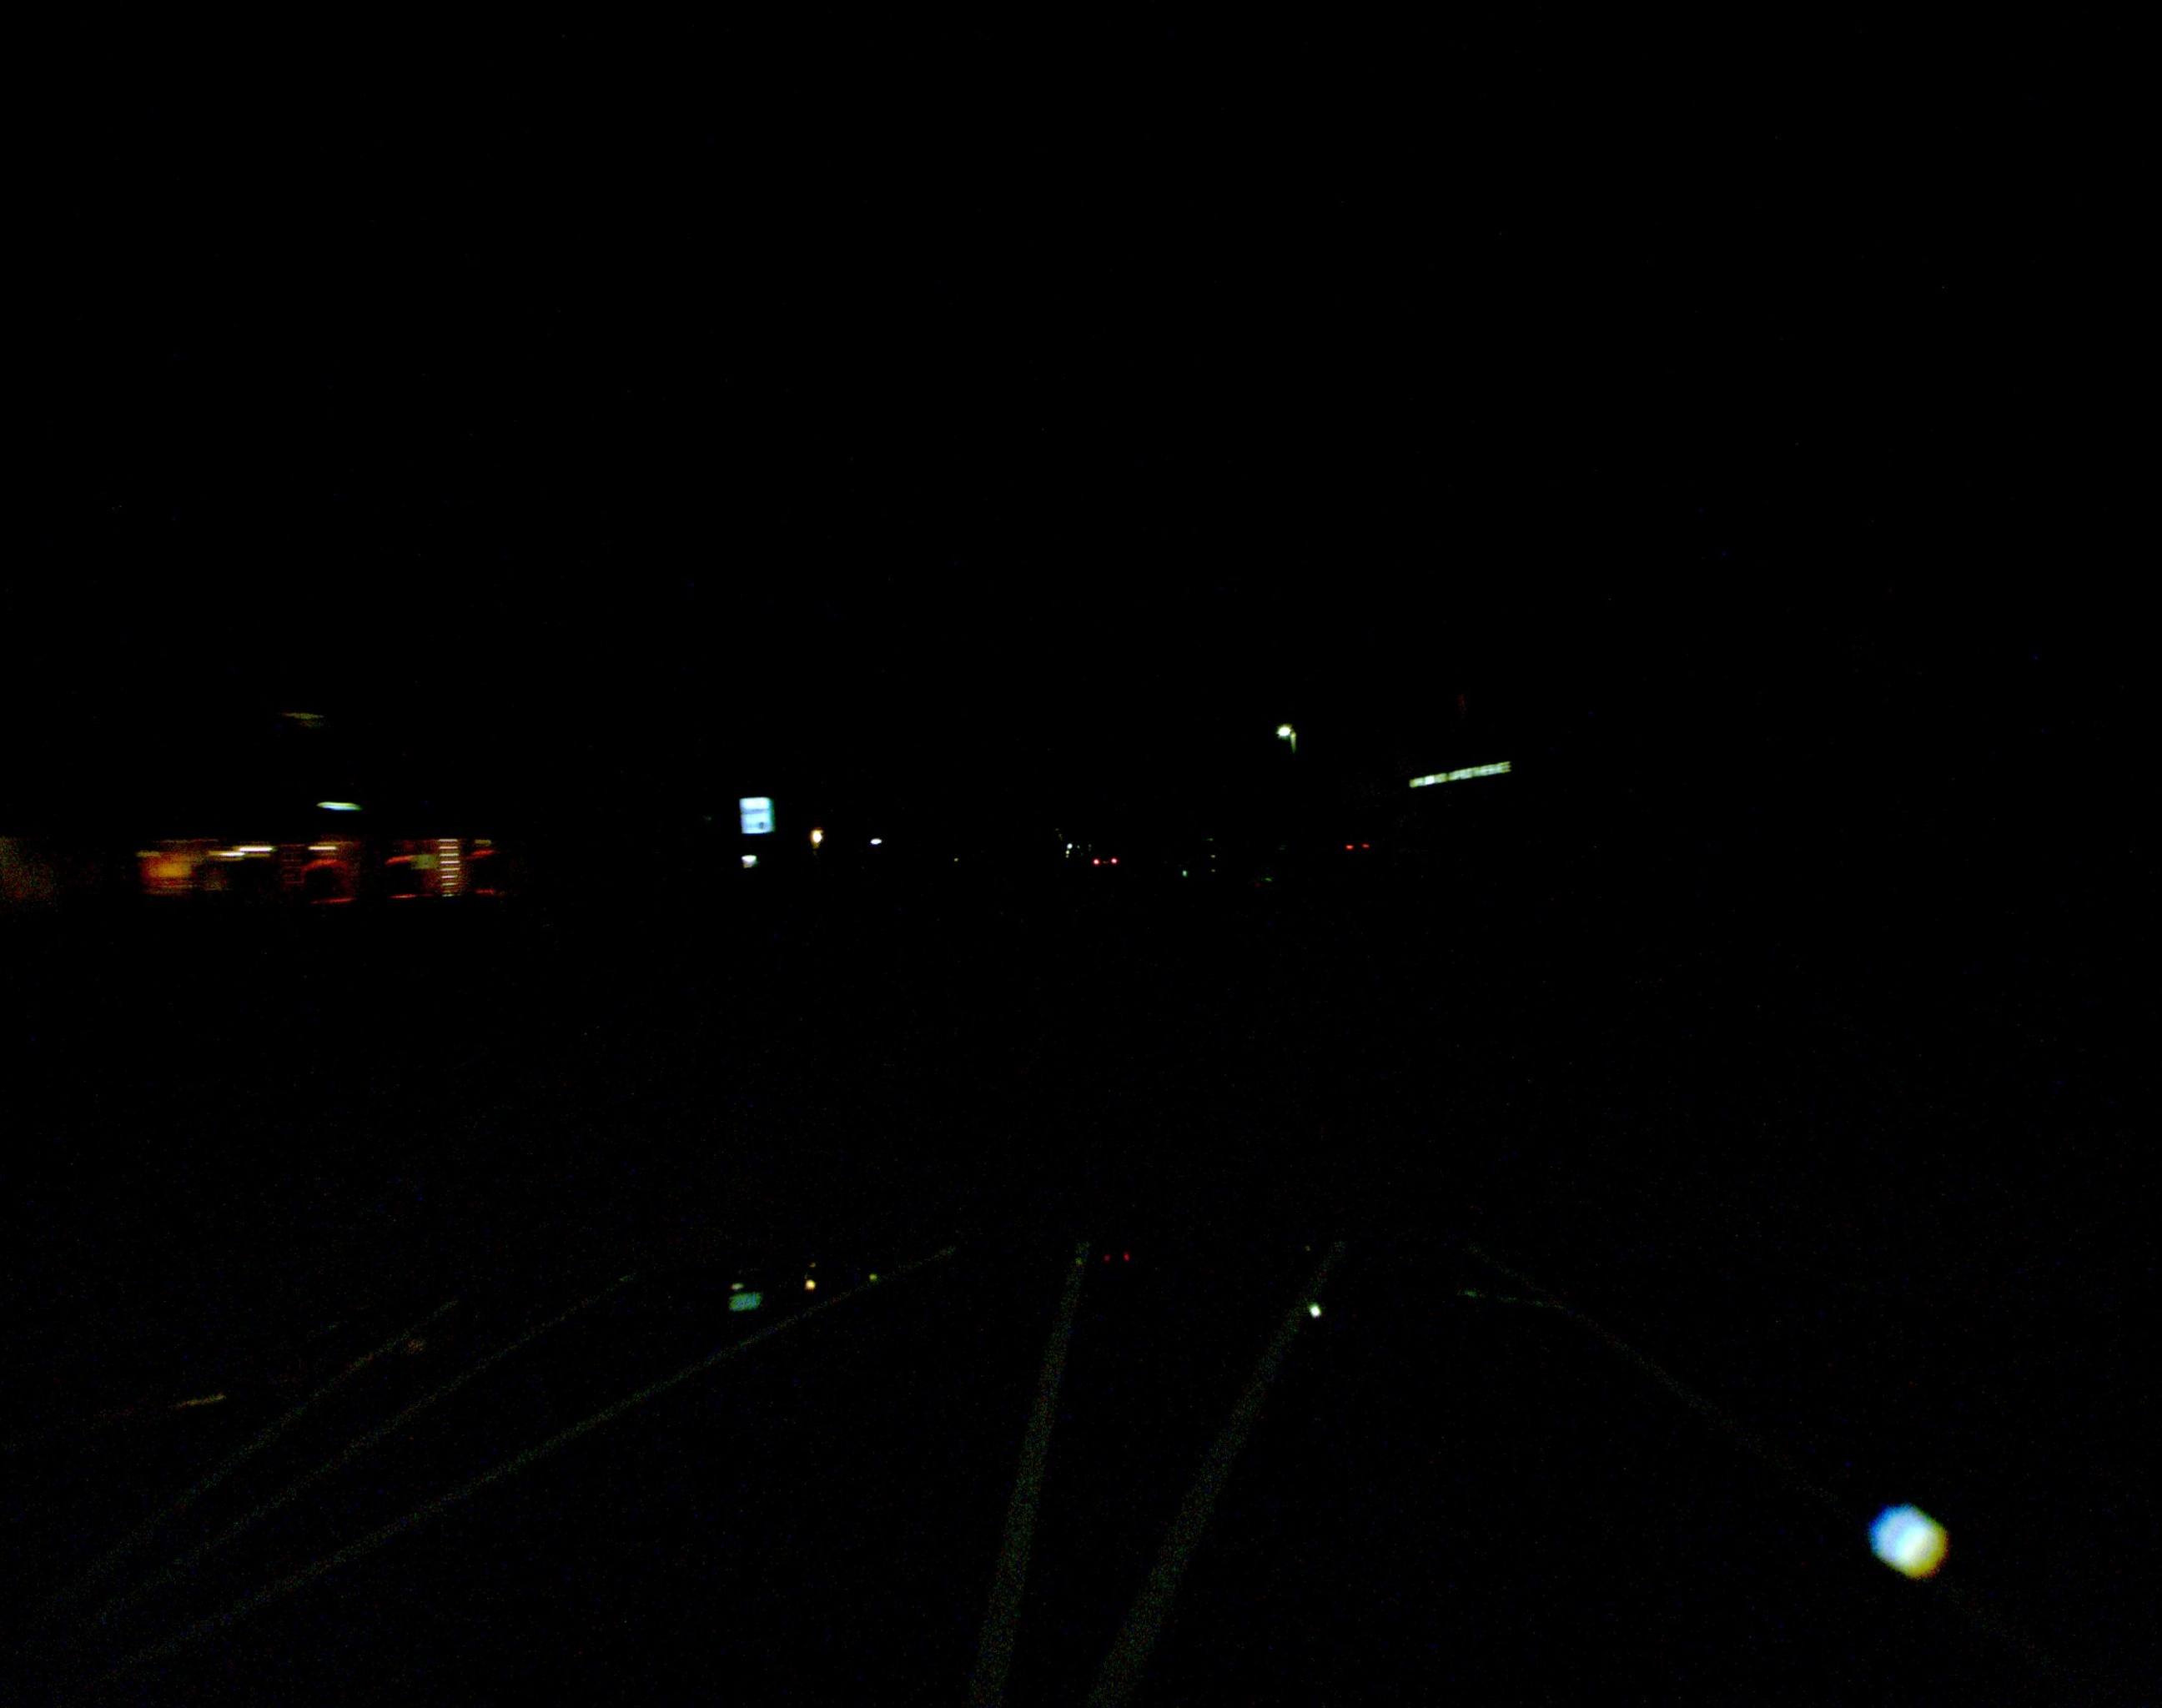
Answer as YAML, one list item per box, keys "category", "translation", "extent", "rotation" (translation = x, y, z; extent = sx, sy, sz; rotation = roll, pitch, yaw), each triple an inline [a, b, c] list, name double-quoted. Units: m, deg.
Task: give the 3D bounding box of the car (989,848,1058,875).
- category: "car"
  translation: [-4.369, 0.577, 58.579]
  extent: [5.156, 1.834, 2.259]
  rotation: [-2, 0, -1]

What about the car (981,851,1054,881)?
- category: "car"
  translation: [-3.986, 0.731, 48.374]
  extent: [4.286, 1.688, 2.000]
  rotation: [-3, 0, 3]

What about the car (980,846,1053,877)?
- category: "car"
  translation: [-4.659, 0.533, 55.571]
  extent: [5.156, 2.084, 2.259]
  rotation: [-2, 0, -1]

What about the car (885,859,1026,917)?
- category: "car"
  translation: [-3.649, 0.971, 22.747]
  extent: [3.927, 1.505, 1.854]
  rotation: [-2, 0, -3]

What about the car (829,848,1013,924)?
- category: "car"
  translation: [-4.206, 0.827, 20.443]
  extent: [4.364, 1.805, 2.032]
  rotation: [-2, 0, 5]

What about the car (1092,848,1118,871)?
- category: "car"
  translation: [1.945, 0.417, 62.184]
  extent: [1.724, 1.705, 3.960]
  rotation: [-4, 0, -3]

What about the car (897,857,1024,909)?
- category: "car"
  translation: [-3.974, 0.930, 25.602]
  extent: [3.926, 1.505, 1.854]
  rotation: [-2, 1, -1]

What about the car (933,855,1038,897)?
- category: "car"
  translation: [-3.857, 0.873, 31.240]
  extent: [3.925, 1.542, 1.988]
  rotation: [-2, 0, 4]
